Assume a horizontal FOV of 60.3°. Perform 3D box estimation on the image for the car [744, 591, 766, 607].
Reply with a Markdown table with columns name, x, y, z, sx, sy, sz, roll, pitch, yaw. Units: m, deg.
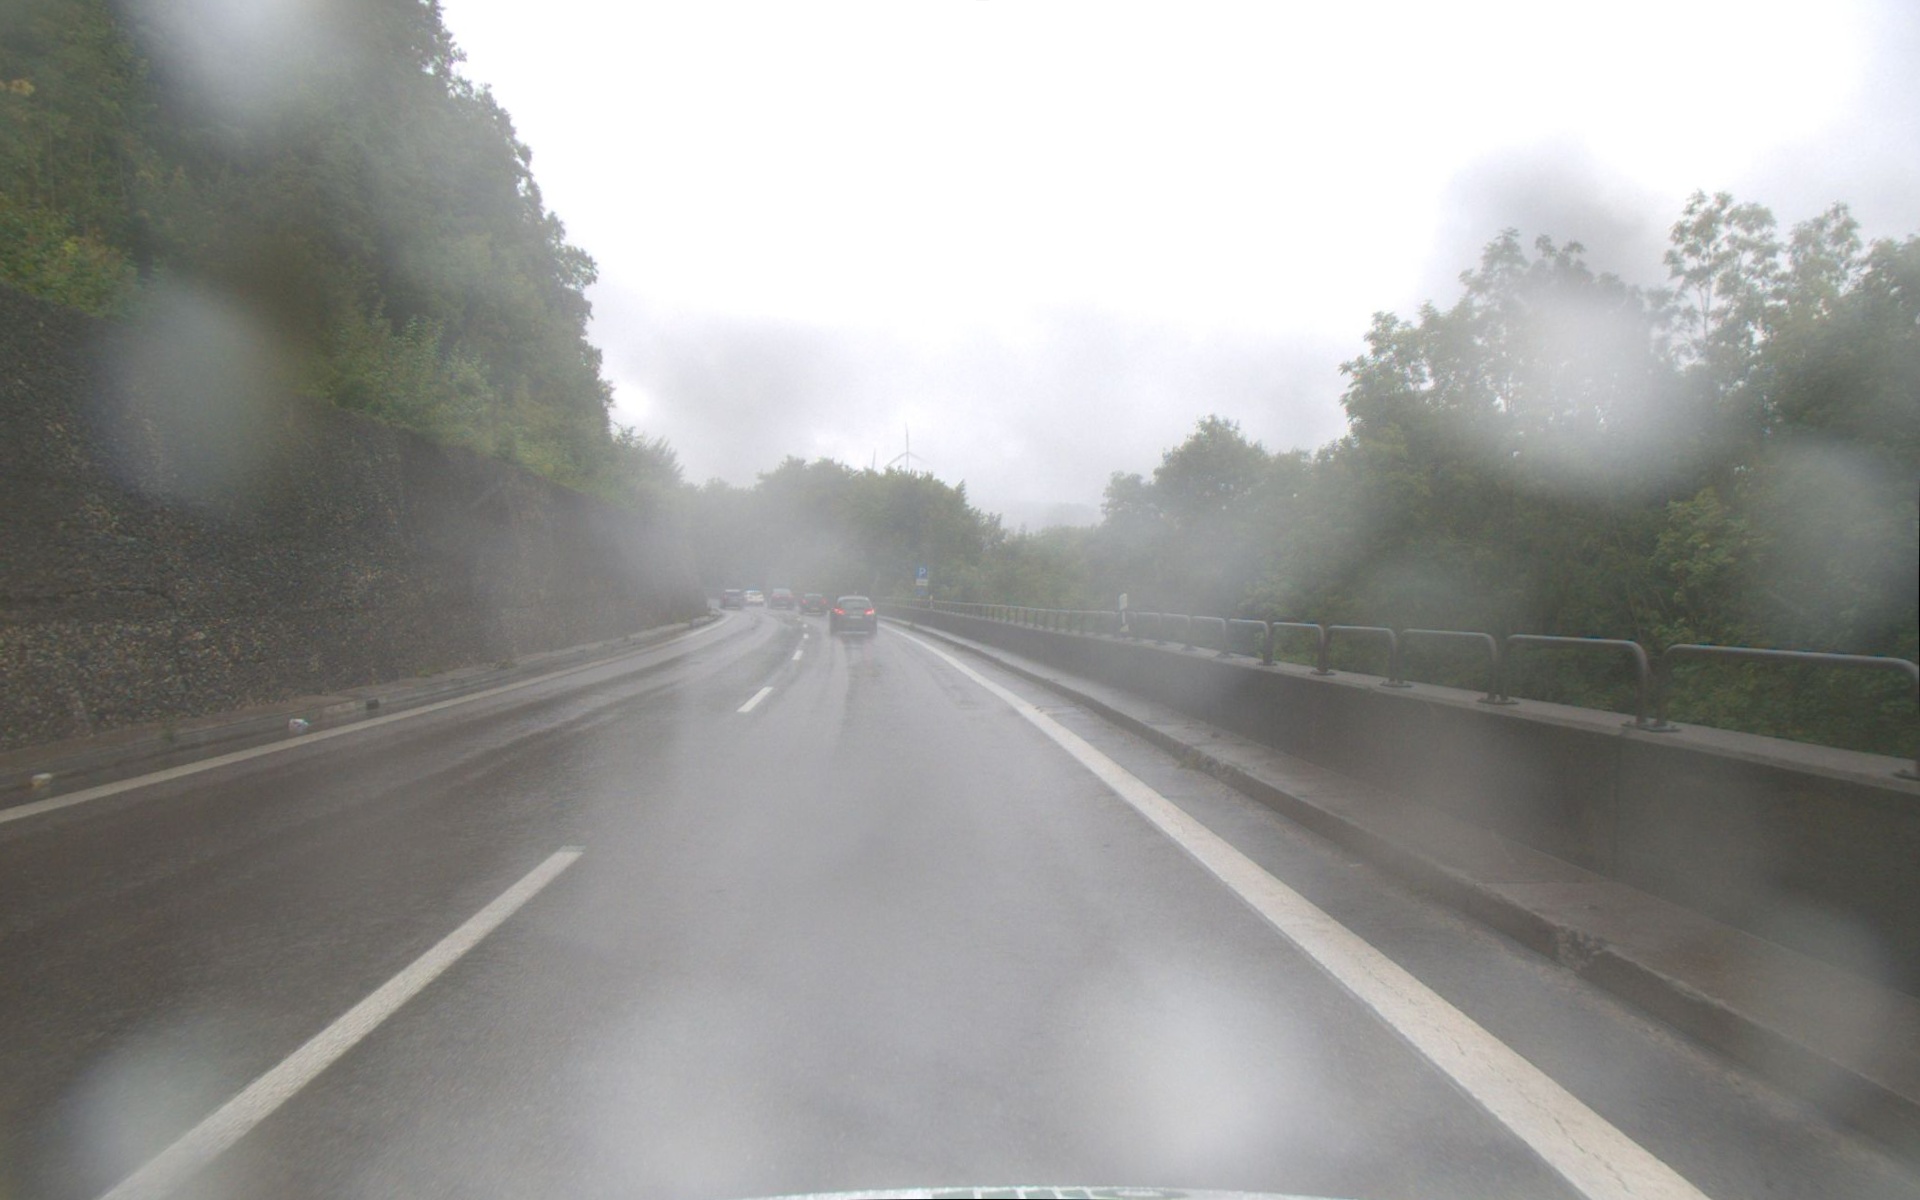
| name | x | y | z | sx | sy | sz | roll | pitch | yaw |
| --- | --- | --- | --- | --- | --- | --- | --- | --- | --- |
| car | -19.542 | -0.113 | 157.265 | 1.869 | 1.525 | 3.990 | 1 | 0 | -10 |

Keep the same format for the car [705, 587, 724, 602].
| name | x | y | z | sx | sy | sz | roll | pitch | yaw |
| --- | --- | --- | --- | --- | --- | --- | --- | --- | --- |
| car | -24.903 | -0.546 | 167.975 | 1.868 | 1.525 | 3.993 | 1 | 0 | -7 |

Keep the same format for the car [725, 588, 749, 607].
| name | x | y | z | sx | sy | sz | roll | pitch | yaw |
| --- | --- | --- | --- | --- | --- | --- | --- | --- | --- |
| car | -18.799 | -0.204 | 139.436 | 1.867 | 1.525 | 3.995 | 1 | 0 | -6 |

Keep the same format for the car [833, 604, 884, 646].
| name | x | y | z | sx | sy | sz | roll | pitch | yaw |
| --- | --- | --- | --- | --- | --- | --- | --- | --- | --- |
| car | -3.933 | 0.921 | 63.731 | 1.866 | 1.525 | 3.997 | 1 | 0 | -4 |

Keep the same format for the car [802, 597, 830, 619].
| name | x | y | z | sx | sy | sz | roll | pitch | yaw |
| --- | --- | --- | --- | --- | --- | --- | --- | --- | --- |
| car | -9.956 | 0.537 | 113.923 | 1.867 | 1.525 | 3.995 | 1 | 0 | -6 |

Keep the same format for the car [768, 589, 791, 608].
| name | x | y | z | sx | sy | sz | roll | pitch | yaw |
| --- | --- | --- | --- | --- | --- | --- | --- | --- | --- |
| car | -15.261 | -0.138 | 140.242 | 1.867 | 1.525 | 3.995 | 1 | 0 | -5 |
